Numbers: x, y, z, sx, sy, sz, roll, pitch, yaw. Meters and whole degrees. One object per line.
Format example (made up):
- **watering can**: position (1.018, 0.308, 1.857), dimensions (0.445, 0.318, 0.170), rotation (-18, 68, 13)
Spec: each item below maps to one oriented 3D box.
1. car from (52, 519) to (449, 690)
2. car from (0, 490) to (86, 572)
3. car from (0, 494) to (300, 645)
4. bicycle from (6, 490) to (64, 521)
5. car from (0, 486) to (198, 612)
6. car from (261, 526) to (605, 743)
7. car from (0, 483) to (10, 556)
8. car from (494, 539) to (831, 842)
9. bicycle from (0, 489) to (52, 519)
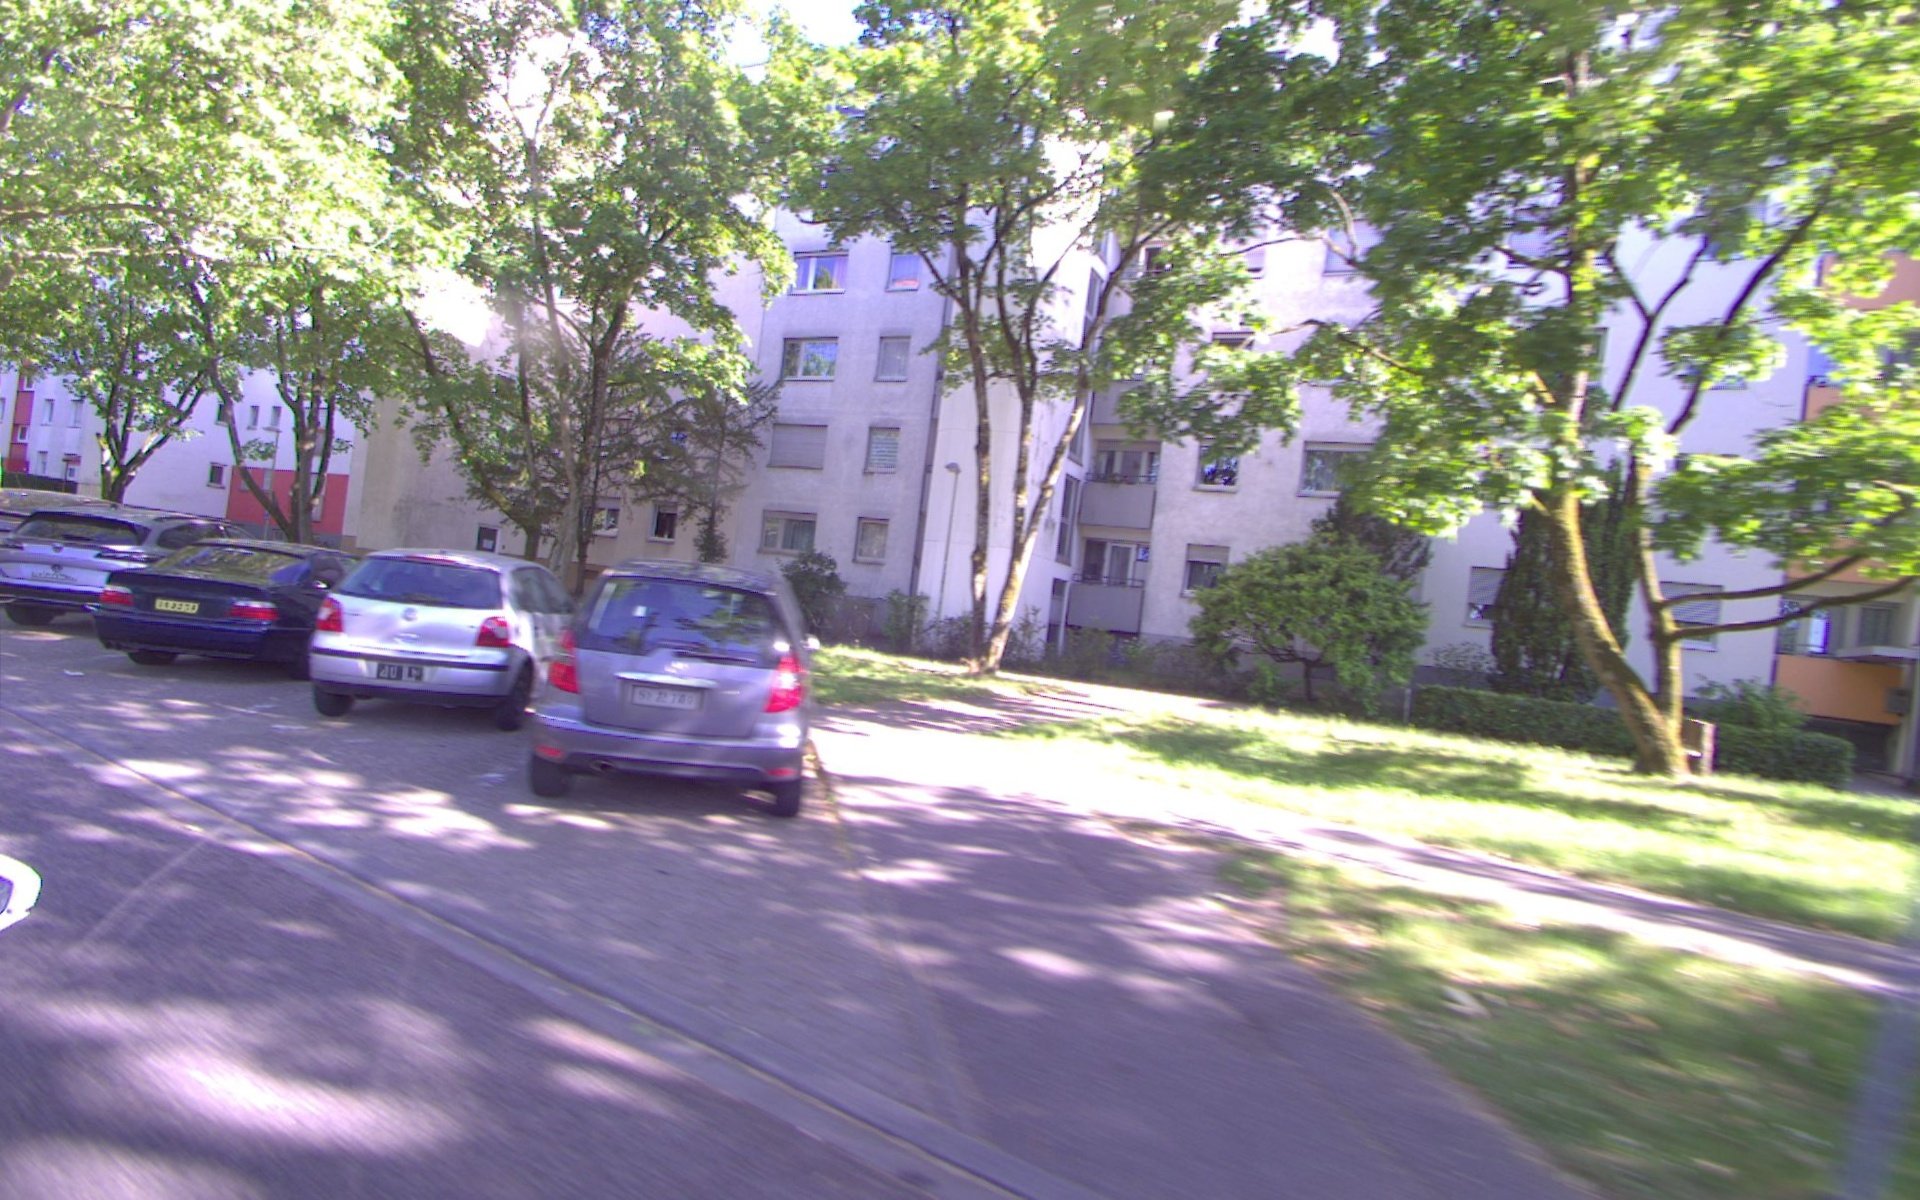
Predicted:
- **car**: position (-7.384, 0.026, 11.075), dimensions (1.769, 1.334, 4.140), rotation (7, 0, -8)
- **car**: position (-18.412, -1.366, 18.344), dimensions (1.769, 1.462, 3.993), rotation (7, 0, -9)
- **car**: position (-10.261, -0.380, 12.721), dimensions (1.770, 1.463, 3.879), rotation (7, 0, -12)
- **bicycle**: position (-40.536, -4.129, 44.100), dimensions (0.491, 1.144, 1.796), rotation (7, 2, 27)
- **car**: position (-13.000, -0.765, 14.383), dimensions (1.772, 1.529, 4.164), rotation (7, 0, -15)
- **car**: position (-4.726, 0.259, 9.643), dimensions (1.770, 1.510, 3.577), rotation (7, 0, -10)
- **car**: position (-21.600, -1.833, 20.051), dimensions (1.769, 1.595, 3.993), rotation (7, 0, -8)
- **car**: position (-2.013, 0.531, 7.782), dimensions (1.769, 1.612, 3.720), rotation (7, 0, -9)
- **bicycle**: position (-41.514, -4.247, 44.562), dimensions (0.491, 1.144, 1.796), rotation (7, 2, 27)
